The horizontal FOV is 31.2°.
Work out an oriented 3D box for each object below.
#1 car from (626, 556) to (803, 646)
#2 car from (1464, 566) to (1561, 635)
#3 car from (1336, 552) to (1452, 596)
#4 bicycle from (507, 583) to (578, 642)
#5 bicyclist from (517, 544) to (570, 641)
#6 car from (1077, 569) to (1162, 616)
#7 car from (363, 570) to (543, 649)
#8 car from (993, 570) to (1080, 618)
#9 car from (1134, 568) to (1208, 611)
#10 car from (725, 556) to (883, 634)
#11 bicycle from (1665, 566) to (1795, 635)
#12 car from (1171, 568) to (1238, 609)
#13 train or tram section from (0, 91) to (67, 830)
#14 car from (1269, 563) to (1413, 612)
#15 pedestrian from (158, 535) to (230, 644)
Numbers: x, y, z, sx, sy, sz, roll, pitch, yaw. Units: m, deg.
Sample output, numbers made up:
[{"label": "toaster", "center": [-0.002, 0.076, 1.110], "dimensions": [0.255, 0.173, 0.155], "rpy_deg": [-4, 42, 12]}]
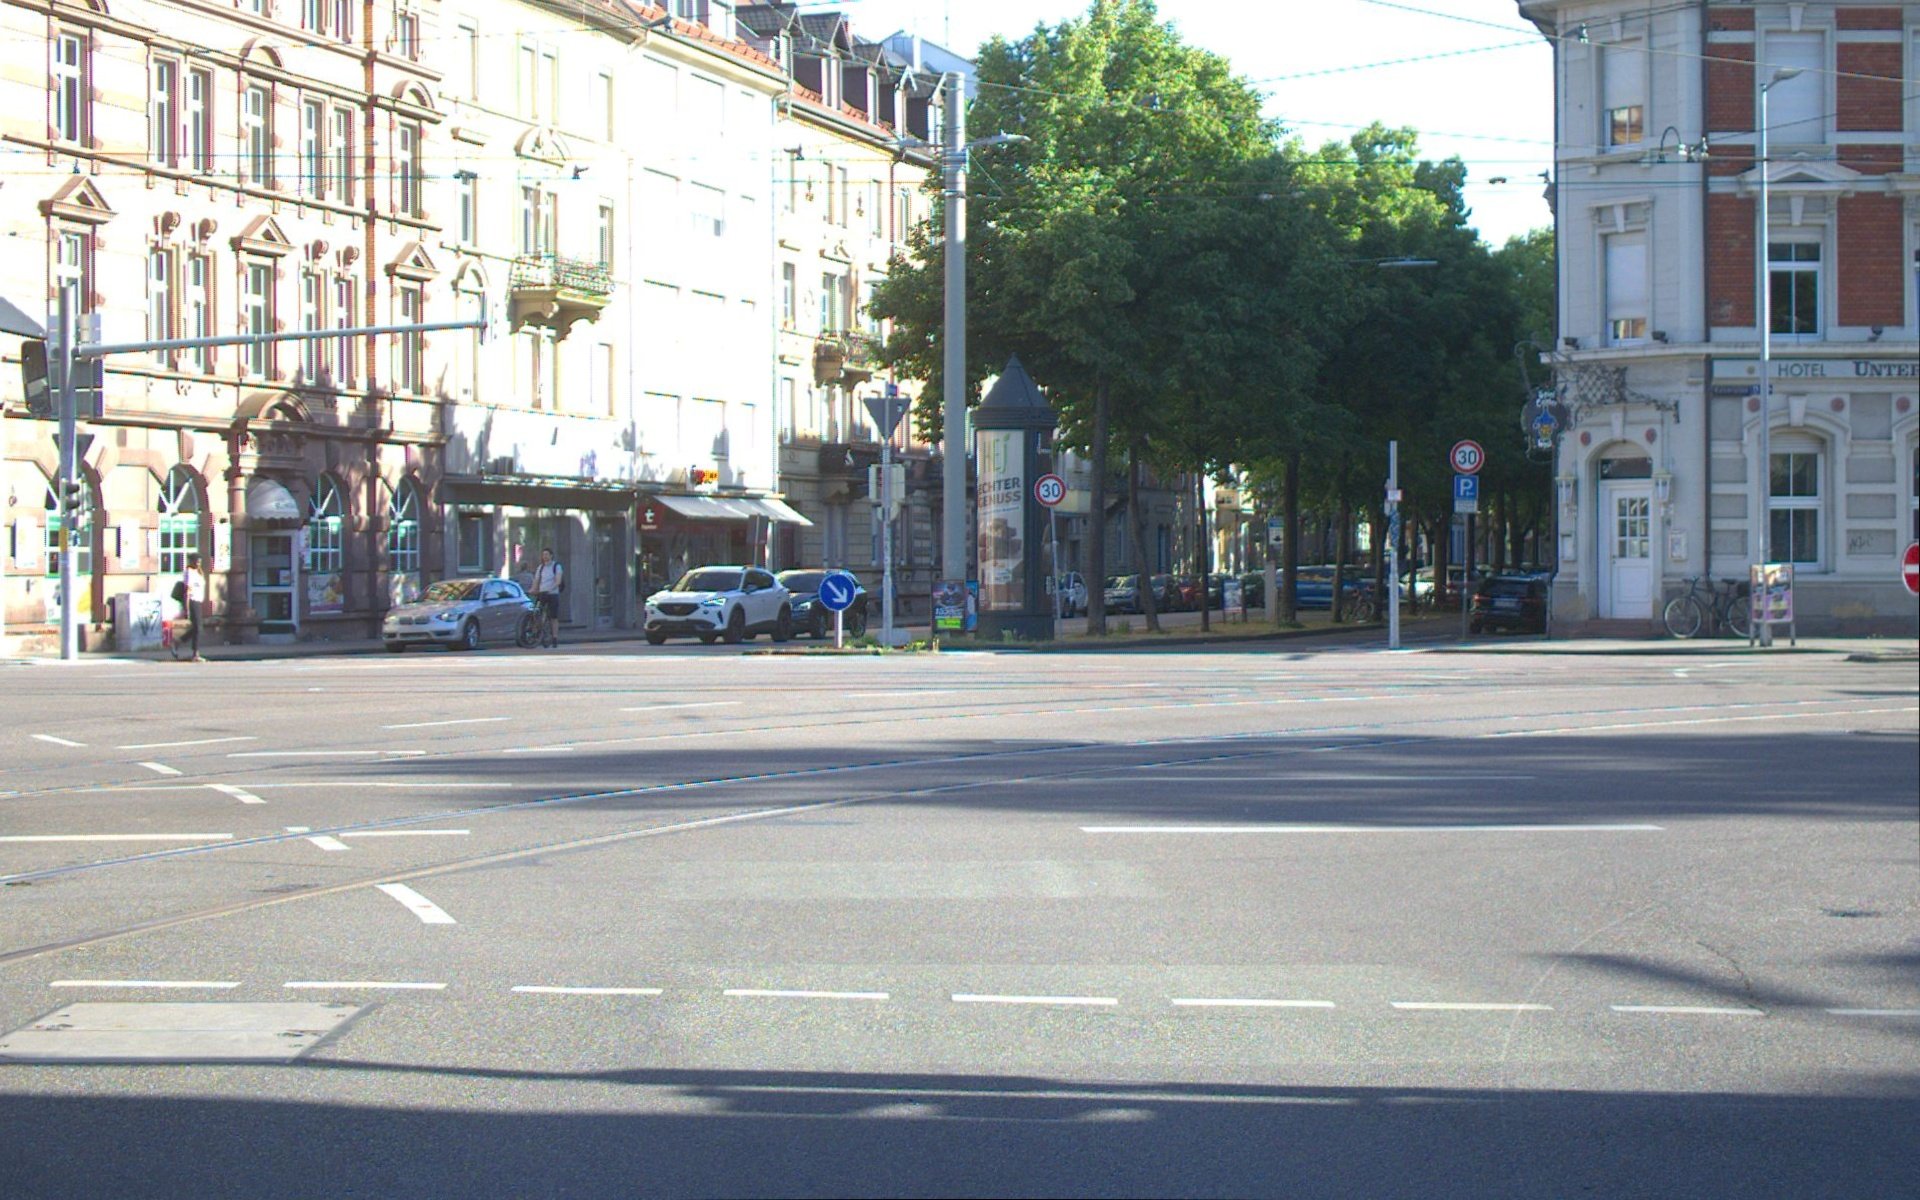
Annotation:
[{"label": "car", "center": [-4.760, -0.011, 67.328], "dimensions": [1.995, 1.678, 4.387], "rpy_deg": [0, 1, 17]}, {"label": "car", "center": [13.272, -0.012, 82.444], "dimensions": [1.995, 1.579, 3.998], "rpy_deg": [0, 1, 14]}, {"label": "car", "center": [16.864, -1.013, 133.627], "dimensions": [3.993, 1.700, 1.997], "rpy_deg": [0, 1, 30]}, {"label": "bicycle", "center": [-7.885, 0.225, 65.014], "dimensions": [0.680, 1.062, 2.124], "rpy_deg": [0, 1, 12]}, {"label": "bicyclist", "center": [-7.875, -0.155, 65.050], "dimensions": [0.679, 1.814, 1.070], "rpy_deg": [0, 1, 12]}, {"label": "car", "center": [5.710, -0.294, 122.668], "dimensions": [1.995, 1.607, 4.387], "rpy_deg": [0, 1, 17]}, {"label": "car", "center": [-9.849, 0.157, 67.053], "dimensions": [1.900, 1.450, 3.997], "rpy_deg": [0, 1, 17]}, {"label": "car", "center": [2.490, -0.217, 110.966], "dimensions": [1.995, 1.481, 3.998], "rpy_deg": [0, 1, 14]}, {"label": "car", "center": [8.036, -0.414, 130.458], "dimensions": [1.839, 1.547, 4.387], "rpy_deg": [0, 1, 17]}, {"label": "car", "center": [-3.315, -0.129, 73.842], "dimensions": [1.995, 1.606, 4.387], "rpy_deg": [0, 1, 17]}, {"label": "bicycle", "center": [12.860, 0.008, 57.393], "dimensions": [2.085, 1.120, 0.367], "rpy_deg": [1, 0, -4]}, {"label": "car", "center": [9.703, -0.464, 136.335], "dimensions": [1.766, 1.544, 4.387], "rpy_deg": [0, 1, 16]}, {"label": "train or tram section", "center": [-5.584, -0.568, 11.756], "dimensions": [2.770, 3.488, 12.032], "rpy_deg": [0, 1, -4]}, {"label": "car", "center": [12.799, -0.437, 115.392], "dimensions": [4.382, 1.606, 1.997], "rpy_deg": [0, 1, 27]}, {"label": "pedestrian", "center": [-12.403, -0.175, 55.686], "dimensions": [1.046, 1.738, 0.809], "rpy_deg": [0, 1, -6]}]
